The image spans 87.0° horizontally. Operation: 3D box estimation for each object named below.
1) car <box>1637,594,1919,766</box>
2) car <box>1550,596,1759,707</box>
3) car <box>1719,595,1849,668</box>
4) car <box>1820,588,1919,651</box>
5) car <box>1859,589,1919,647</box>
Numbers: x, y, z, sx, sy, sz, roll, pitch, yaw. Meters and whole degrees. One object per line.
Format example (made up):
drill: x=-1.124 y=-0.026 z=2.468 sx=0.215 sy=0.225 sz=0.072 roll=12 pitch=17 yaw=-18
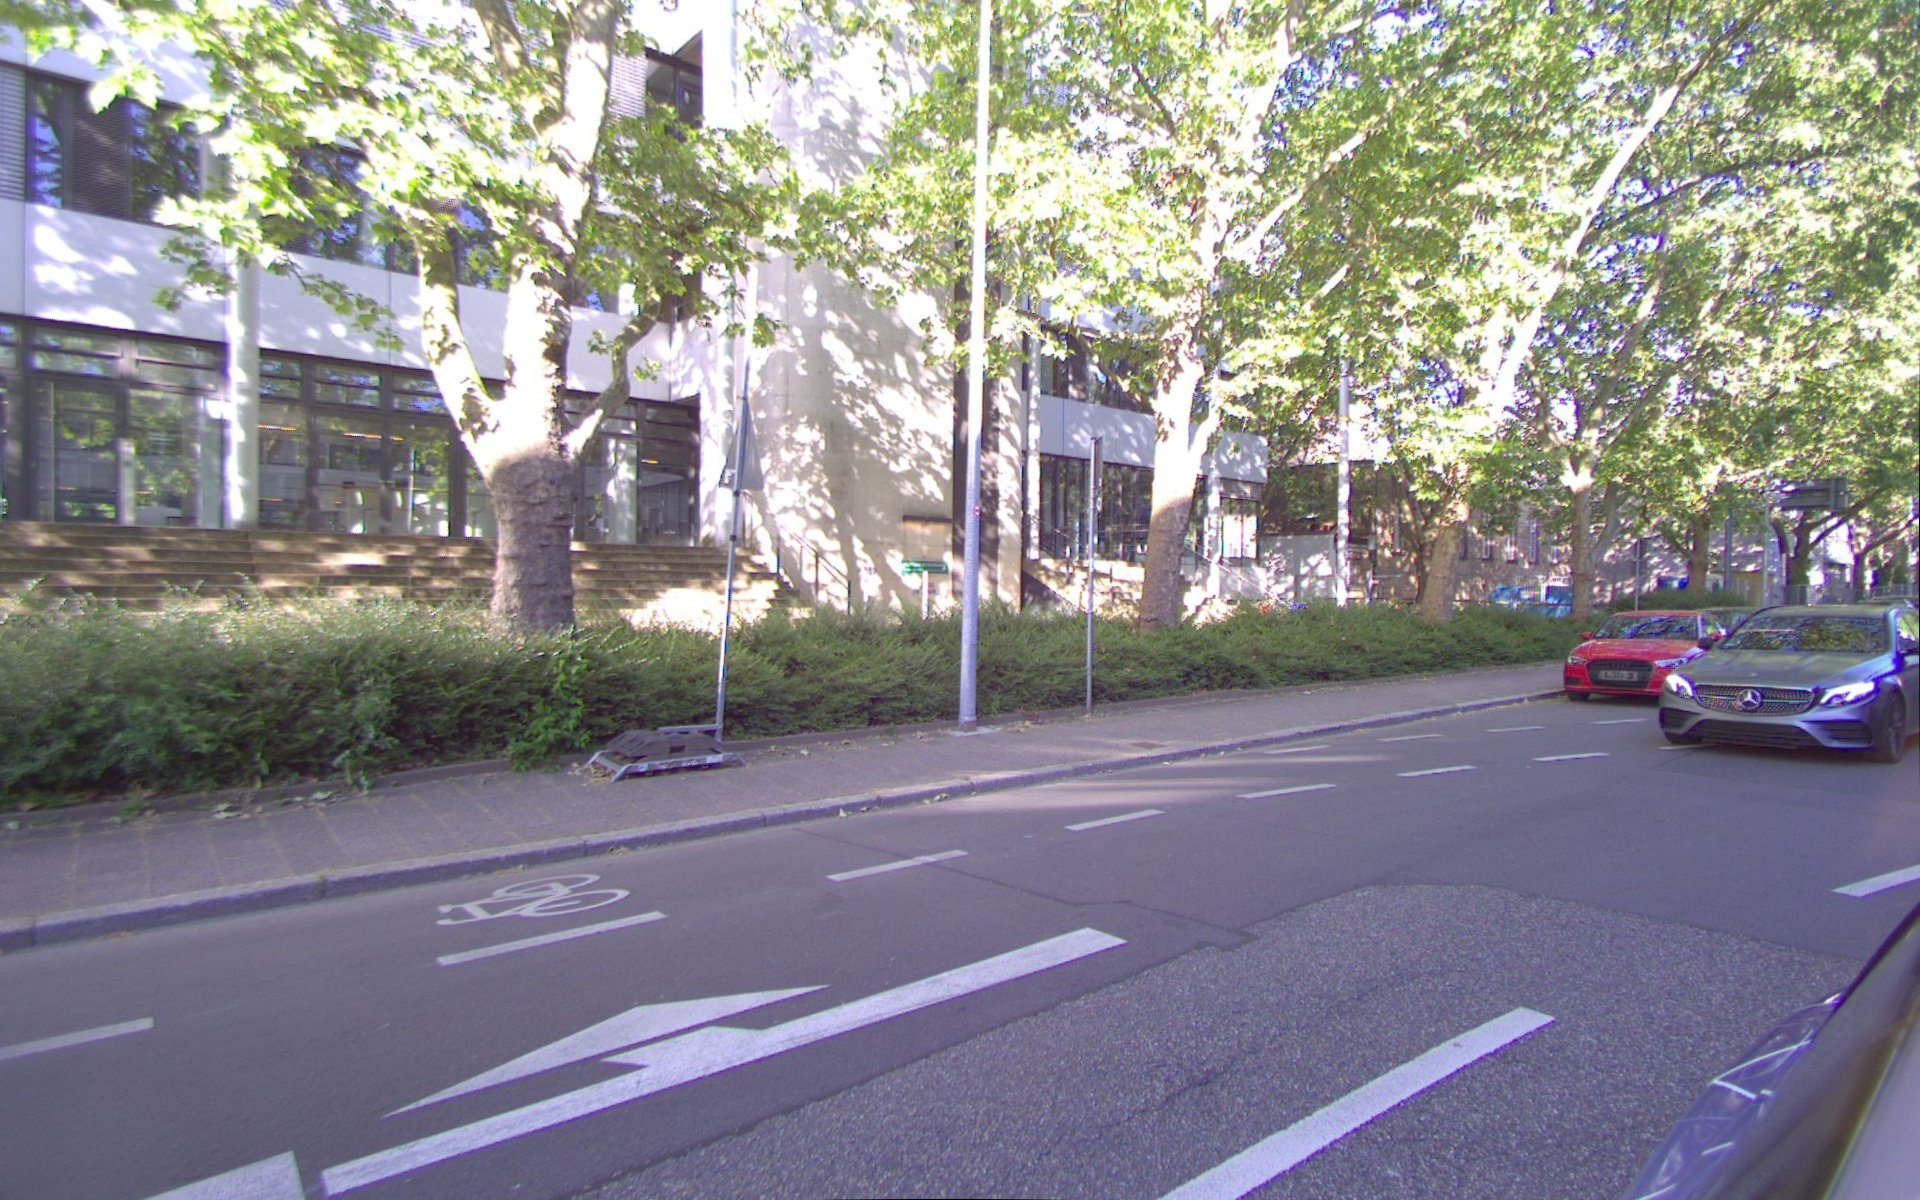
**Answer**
car: x=9.298 y=0.695 z=10.888 sx=4.582 sy=1.483 sz=1.918 roll=0 pitch=-1 yaw=-37
car: x=11.175 y=0.734 z=16.181 sx=4.071 sy=1.548 sz=1.827 roll=0 pitch=-1 yaw=-42
car: x=18.801 y=0.672 z=23.041 sx=3.851 sy=1.511 sz=1.679 roll=0 pitch=-1 yaw=-42
car: x=25.946 y=0.509 z=28.800 sx=4.022 sy=1.653 sz=1.739 roll=0 pitch=1 yaw=-42
car: x=29.529 y=0.530 z=31.694 sx=3.840 sy=1.708 sz=1.633 roll=0 pitch=1 yaw=-42
